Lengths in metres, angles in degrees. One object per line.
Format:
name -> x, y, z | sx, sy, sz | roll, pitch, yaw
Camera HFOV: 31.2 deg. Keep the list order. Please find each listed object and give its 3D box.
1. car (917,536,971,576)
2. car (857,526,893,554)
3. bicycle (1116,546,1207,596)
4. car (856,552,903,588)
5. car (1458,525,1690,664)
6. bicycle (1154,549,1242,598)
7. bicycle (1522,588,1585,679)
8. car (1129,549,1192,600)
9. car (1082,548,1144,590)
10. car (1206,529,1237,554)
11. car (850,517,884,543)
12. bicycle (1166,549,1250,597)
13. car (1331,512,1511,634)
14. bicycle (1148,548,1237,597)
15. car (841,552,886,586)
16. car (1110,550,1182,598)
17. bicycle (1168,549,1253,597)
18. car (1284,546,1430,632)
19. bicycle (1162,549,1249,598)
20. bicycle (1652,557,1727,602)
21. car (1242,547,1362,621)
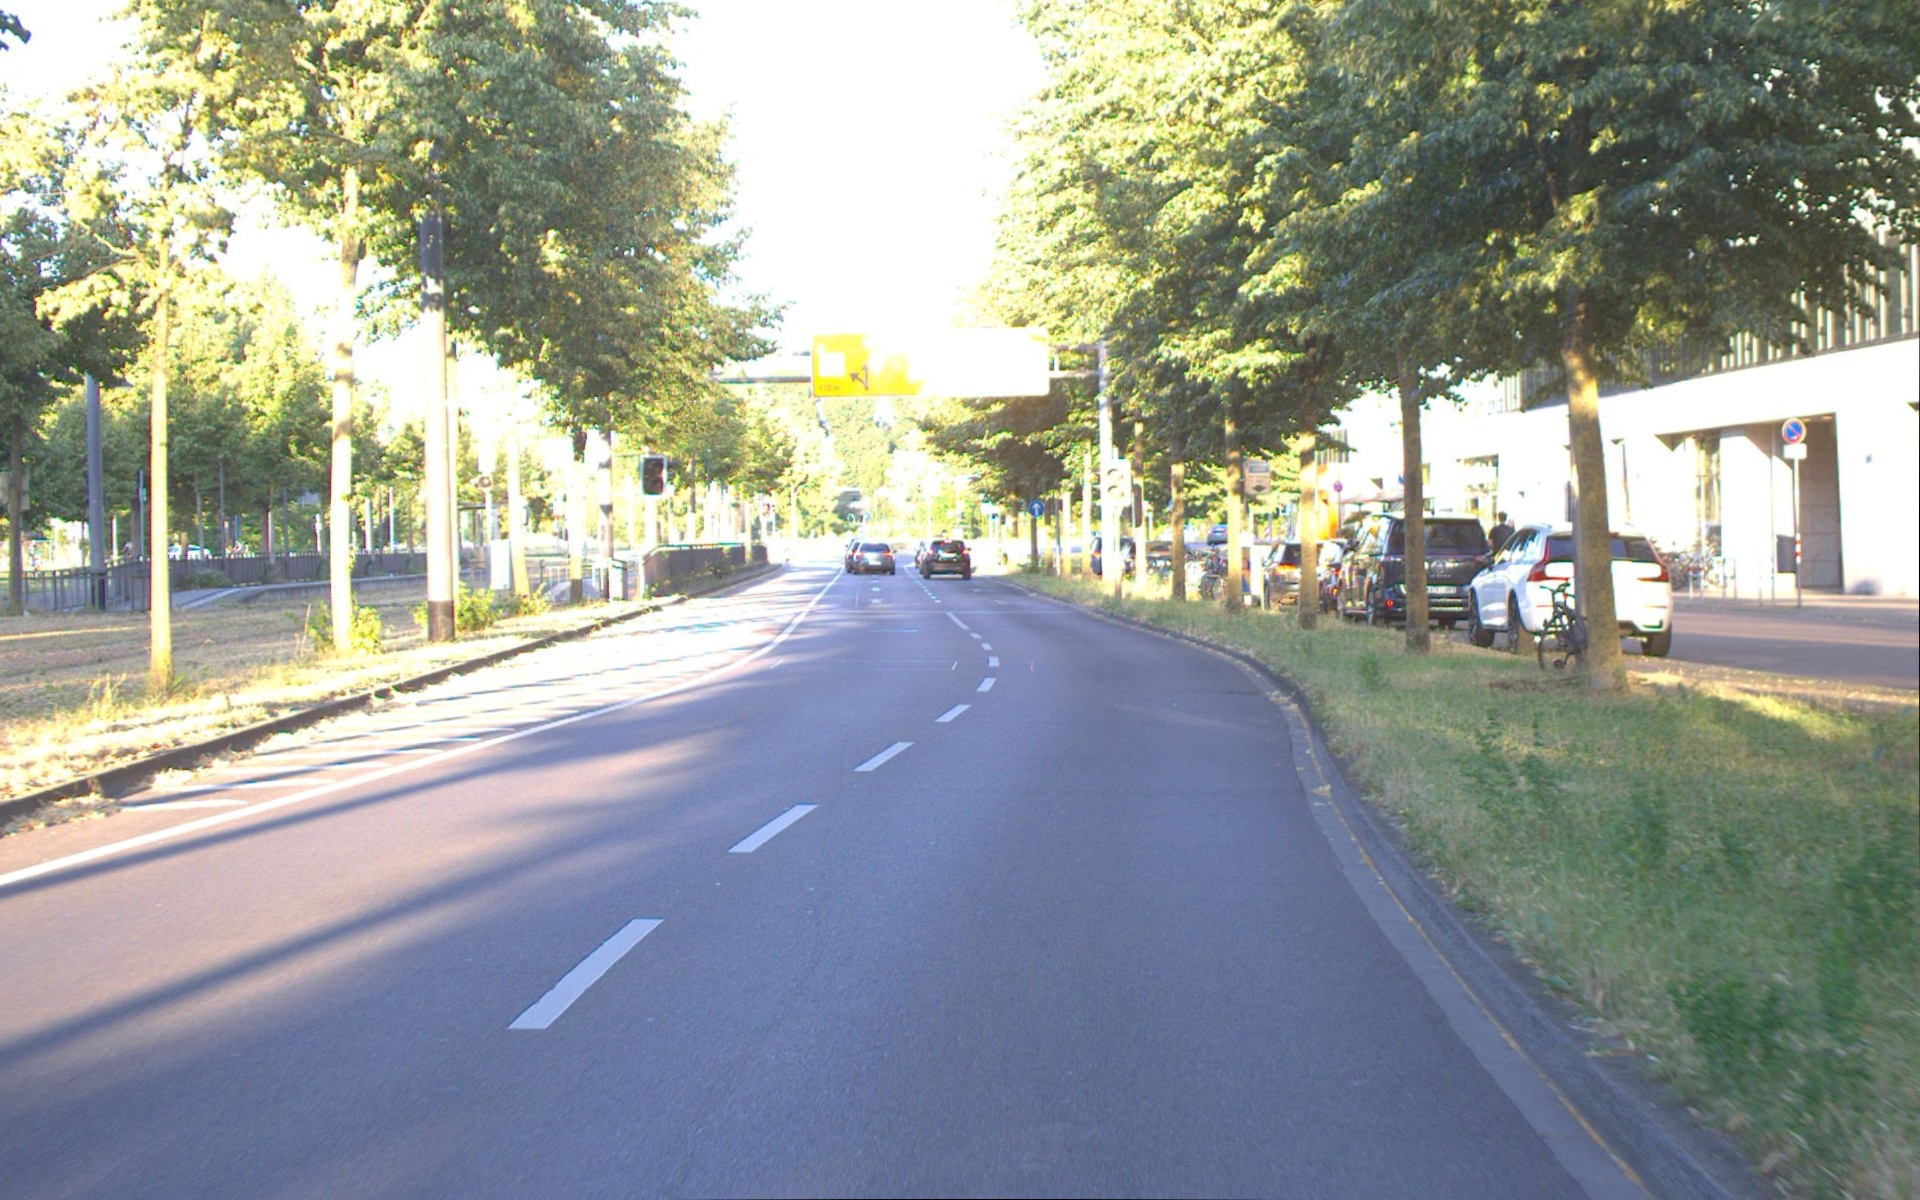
car -> -0.624, -1.690, 131.901 | 1.911, 1.481, 4.000 | 0, 1, -2
car -> -4.644, -3.293, 188.056 | 1.911, 1.481, 4.000 | -1, 1, -2
bicycle -> 4.609, -0.664, 78.621 | 1.941, 1.050, 0.545 | 3, 1, -16
car -> -3.437, -1.299, 145.849 | 1.911, 1.481, 4.000 | -1, 1, -2
car -> 7.682, -0.102, 43.461 | 1.993, 1.637, 4.879 | -1, 1, -1
bicycle -> 5.579, -0.633, 80.746 | 1.941, 1.050, 0.545 | 3, 1, -9
bicycle -> 5.661, 0.310, 32.828 | 0.315, 0.820, 1.552 | -1, 1, 0
car -> 5.915, -0.761, 101.647 | 1.575, 1.467, 3.881 | -1, 1, -1
car -> 5.498, -1.121, 123.757 | 1.756, 1.461, 4.159 | -1, 1, -4
car -> 18.056, -4.045, 237.540 | 1.993, 1.722, 4.000 | -1, 1, 2
car -> -5.515, -4.119, 203.509 | 1.911, 1.481, 4.000 | -1, 1, -2
bicycle -> 5.999, -0.659, 83.239 | 1.941, 1.050, 0.414 | 3, 1, -9
car -> 7.325, -0.452, 55.076 | 1.993, 1.845, 4.666 | -1, 1, -3
bicycle -> 5.405, -0.641, 80.047 | 1.941, 1.050, 0.545 | 3, 1, -12
car -> -4.290, -1.383, 152.301 | 1.911, 1.481, 4.000 | -1, 1, -2
car -> 5.836, -0.828, 108.358 | 1.777, 1.467, 4.289 | -1, 1, -3
bicycle -> 6.023, -0.646, 82.689 | 1.941, 1.050, 0.414 | 3, 1, -9
car -> 7.077, -0.223, 61.711 | 1.809, 1.466, 4.666 | -1, 1, -3
bicycle -> 5.805, -0.633, 81.317 | 1.941, 1.050, 0.409 | 3, 1, -9
bicycle -> 16.217, -0.449, 76.463 | 1.575, 0.984, 0.404 | -1, 1, -1
car -> 6.789, -0.338, 68.564 | 1.869, 1.406, 4.646 | -1, 1, -1
